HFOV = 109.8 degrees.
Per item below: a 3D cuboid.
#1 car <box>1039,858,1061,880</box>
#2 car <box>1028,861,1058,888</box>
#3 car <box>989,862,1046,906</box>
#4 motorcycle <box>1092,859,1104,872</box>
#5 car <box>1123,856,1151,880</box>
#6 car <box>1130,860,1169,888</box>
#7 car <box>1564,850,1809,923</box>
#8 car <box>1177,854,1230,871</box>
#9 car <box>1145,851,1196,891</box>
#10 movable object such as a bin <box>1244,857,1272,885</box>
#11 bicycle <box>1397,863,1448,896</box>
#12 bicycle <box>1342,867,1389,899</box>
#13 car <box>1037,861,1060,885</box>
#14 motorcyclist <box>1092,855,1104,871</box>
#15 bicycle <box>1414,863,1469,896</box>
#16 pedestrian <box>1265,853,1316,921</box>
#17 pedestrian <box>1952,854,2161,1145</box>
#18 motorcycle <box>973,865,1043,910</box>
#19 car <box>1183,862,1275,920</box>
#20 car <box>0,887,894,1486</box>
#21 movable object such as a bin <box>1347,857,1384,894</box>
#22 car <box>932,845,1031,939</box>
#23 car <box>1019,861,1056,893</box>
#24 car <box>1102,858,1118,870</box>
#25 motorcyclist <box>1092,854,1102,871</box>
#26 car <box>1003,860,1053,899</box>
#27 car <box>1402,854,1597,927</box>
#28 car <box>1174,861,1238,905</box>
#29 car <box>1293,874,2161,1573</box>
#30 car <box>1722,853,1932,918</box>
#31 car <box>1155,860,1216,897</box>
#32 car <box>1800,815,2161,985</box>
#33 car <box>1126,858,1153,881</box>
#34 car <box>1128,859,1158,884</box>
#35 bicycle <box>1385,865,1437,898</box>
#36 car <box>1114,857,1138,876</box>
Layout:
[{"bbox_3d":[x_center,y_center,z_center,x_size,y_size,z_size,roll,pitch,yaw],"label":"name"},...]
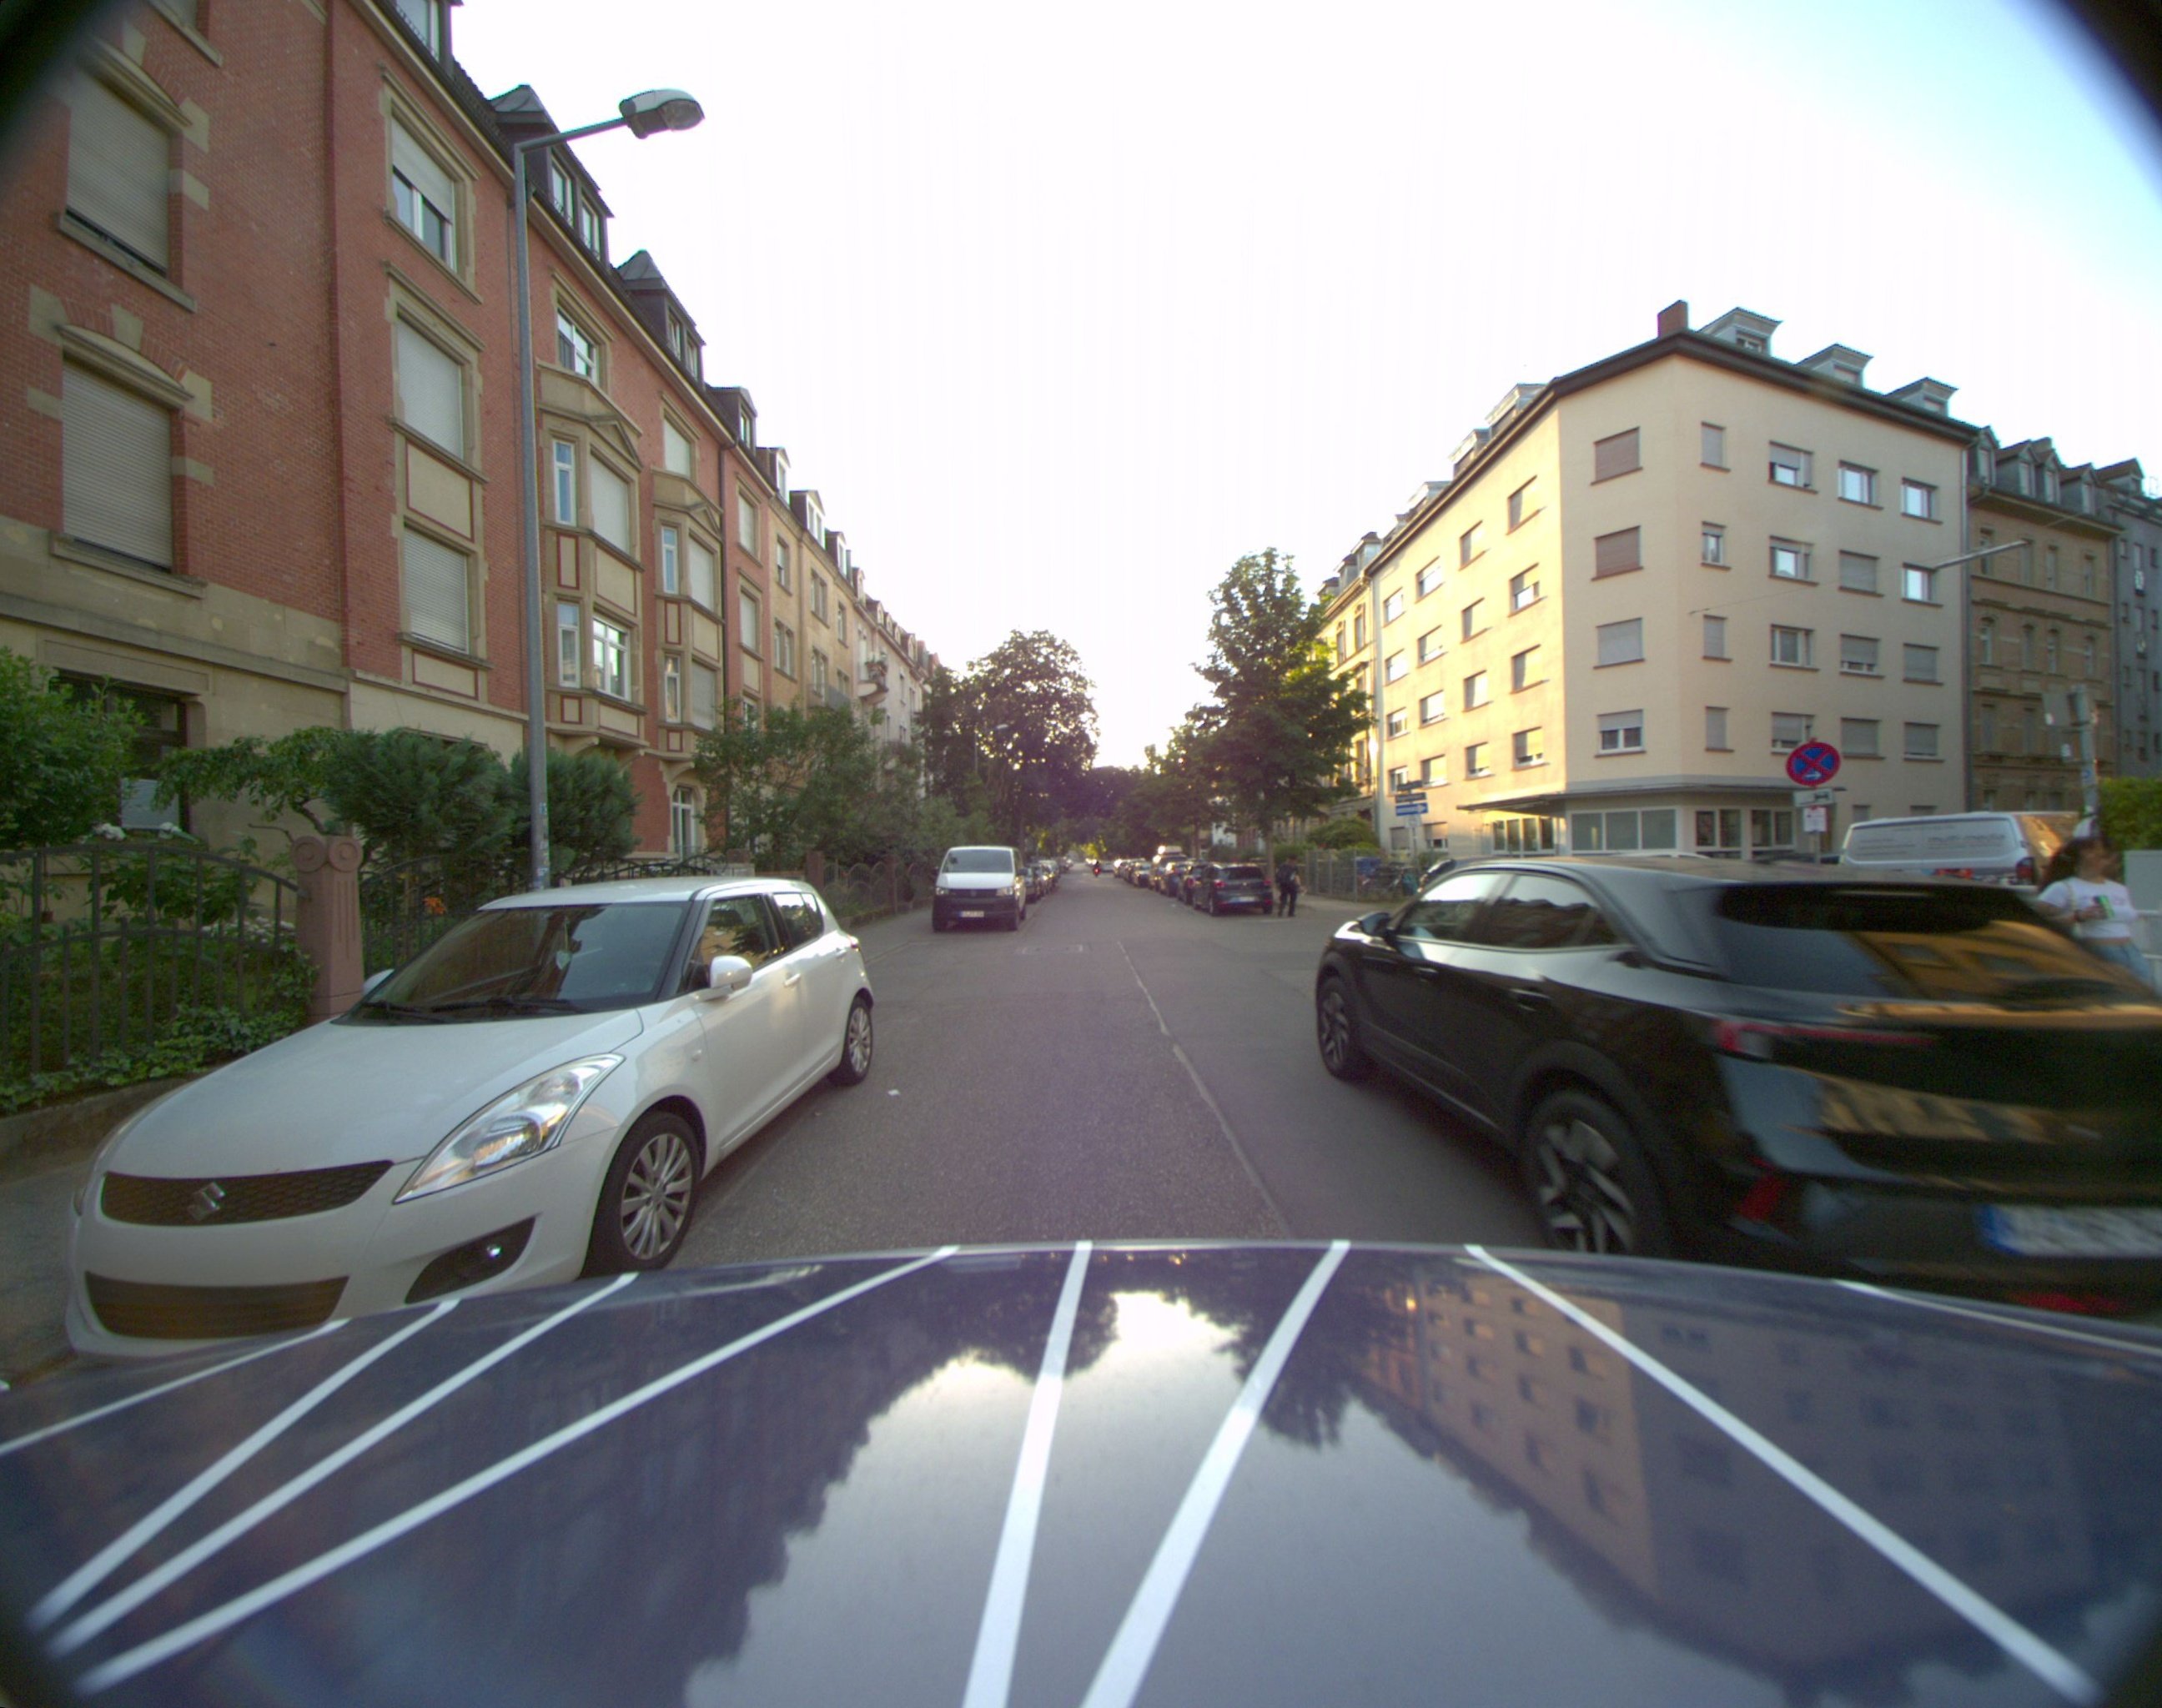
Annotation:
[{"bbox_3d":[-2.562,1.231,63.127,1.737,1.691,4.167,-2,0,-2],"label":"car"},{"bbox_3d":[-2.371,1.260,47.894,1.737,1.498,4.163,-2,0,-2],"label":"car"},{"bbox_3d":[-2.455,1.137,30.279,1.724,1.542,4.325,-2,0,2],"label":"car"},{"bbox_3d":[1.627,1.077,72.450,0.848,1.202,2.076,1,0,10],"label":"motorcycle"},{"bbox_3d":[4.255,1.044,58.173,1.866,1.653,4.021,-2,0,0],"label":"car"},{"bbox_3d":[3.930,1.129,43.956,1.733,1.433,4.023,-2,0,-2],"label":"car"},{"bbox_3d":[14.208,0.742,18.111,4.066,1.499,1.975,-3,0,12],"label":"car"},{"bbox_3d":[10.814,0.730,67.223,4.413,1.333,1.626,-2,0,1],"label":"car"},{"bbox_3d":[4.376,0.795,37.713,1.866,1.768,4.622,-2,0,-1],"label":"car"},{"bbox_3d":[9.145,0.862,39.257,0.948,1.379,1.551,-3,0,-4],"label":"movable object such as a bin"},{"bbox_3d":[11.899,0.896,26.515,0.502,1.086,1.545,-3,0,-38],"label":"bicycle"},{"bbox_3d":[9.831,0.988,26.340,0.689,1.019,1.931,-3,0,-6],"label":"bicycle"},{"bbox_3d":[-2.241,1.298,53.118,1.479,1.498,3.928,-2,0,-2],"label":"car"},{"bbox_3d":[1.632,0.810,72.578,0.891,1.496,0.970,1,1,10],"label":"motorcyclist"},{"bbox_3d":[12.515,0.884,26.450,0.386,1.086,1.707,-3,0,-37],"label":"bicycle"},{"bbox_3d":[5.496,0.847,19.925,0.889,1.712,0.960,-2,1,42],"label":"pedestrian"},{"bbox_3d":[6.218,0.821,4.702,0.711,1.609,0.786,-3,0,-5],"label":"pedestrian"},{"bbox_3d":[-2.521,1.109,26.141,2.099,1.473,1.130,0,0,-34],"label":"motorcycle"},{"bbox_3d":[4.296,1.020,22.725,1.679,1.453,4.462,-2,0,-2],"label":"car"},{"bbox_3d":[-2.411,1.022,4.033,1.678,1.468,3.862,-2,0,2],"label":"car"},{"bbox_3d":[10.881,0.805,29.141,0.868,1.344,1.398,-3,0,1],"label":"movable object such as a bin"},{"bbox_3d":[-2.330,0.825,19.185,1.866,2.027,5.544,0,0,-1],"label":"car"},{"bbox_3d":[-2.247,1.165,40.029,1.590,1.516,3.603,-3,0,2],"label":"car"},{"bbox_3d":[3.990,1.380,103.409,1.953,1.484,3.738,-2,0,-1],"label":"car"},{"bbox_3d":[1.509,0.794,71.804,0.789,1.531,0.546,2,1,10],"label":"motorcyclist"},{"bbox_3d":[-2.397,1.140,35.533,1.761,1.573,4.842,-3,0,2],"label":"car"},{"bbox_3d":[9.691,0.828,17.813,3.515,1.499,1.845,-2,-1,-1],"label":"car"},{"bbox_3d":[4.437,0.993,27.551,1.746,1.412,4.143,-2,0,2],"label":"car"},{"bbox_3d":[2.513,0.907,3.763,1.784,1.508,3.999,0,0,-1],"label":"car"},{"bbox_3d":[18.468,0.737,18.857,4.082,1.430,1.996,-1,-1,-17],"label":"car"},{"bbox_3d":[4.416,0.996,32.708,1.866,1.404,4.590,-2,0,-1],"label":"car"},{"bbox_3d":[13.091,0.506,10.811,5.300,1.963,2.205,-1,0,-23],"label":"car"},{"bbox_3d":[4.029,1.067,52.895,1.682,1.489,3.625,-2,0,2],"label":"car"},{"bbox_3d":[3.945,1.083,48.672,1.441,1.485,3.298,-2,0,-2],"label":"car"},{"bbox_3d":[11.406,0.939,26.305,0.502,1.086,1.545,-3,0,-38],"label":"bicycle"},{"bbox_3d":[4.101,1.141,69.732,1.677,1.627,3.940,-2,0,-3],"label":"car"}]
